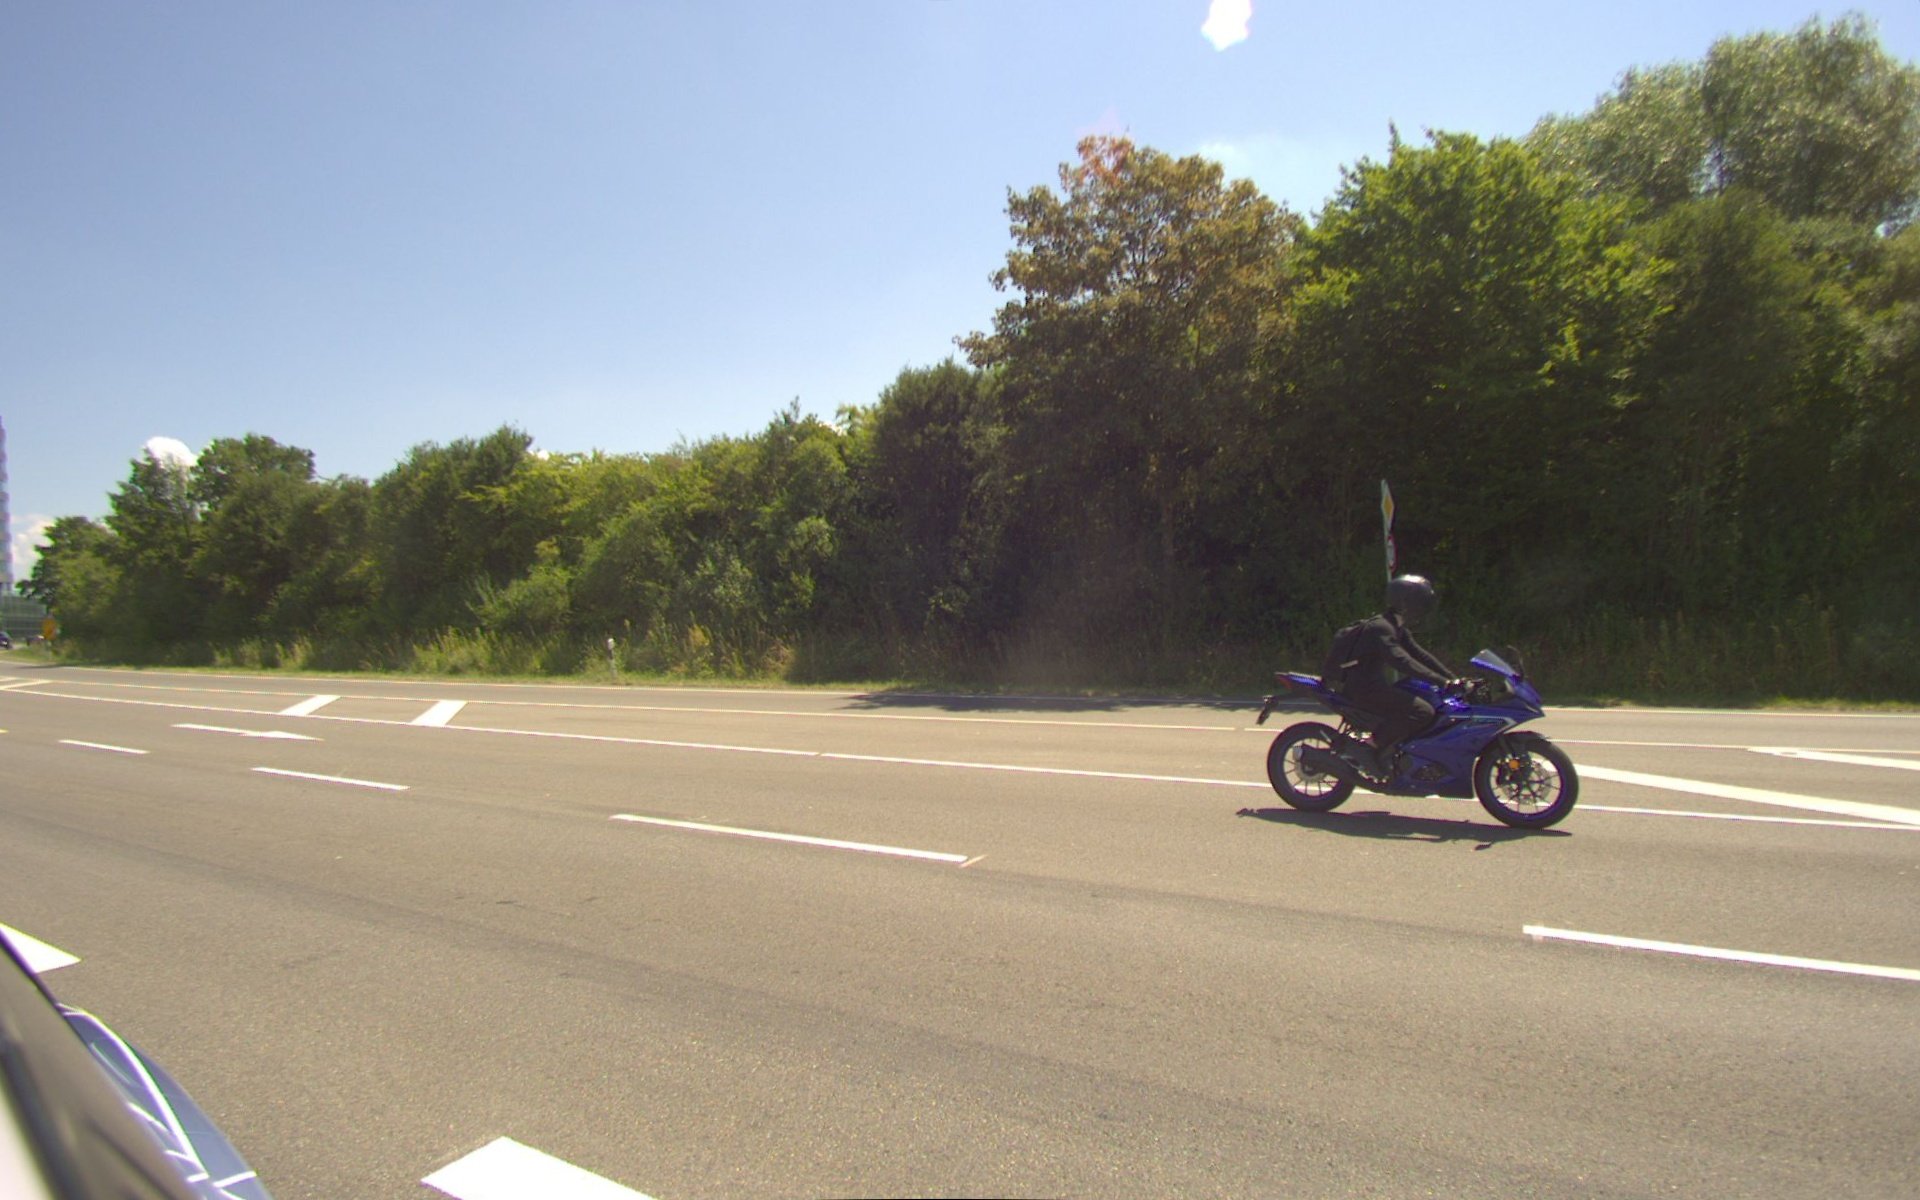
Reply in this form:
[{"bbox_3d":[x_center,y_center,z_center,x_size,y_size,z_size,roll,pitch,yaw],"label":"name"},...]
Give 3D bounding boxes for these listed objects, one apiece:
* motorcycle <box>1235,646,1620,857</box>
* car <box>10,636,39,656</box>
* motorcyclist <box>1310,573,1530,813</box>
[{"bbox_3d":[3.039,0.907,6.695,2.165,1.150,0.853,-2,-1,36],"label":"motorcycle"},{"bbox_3d":[-106.917,5.227,115.631,3.998,2.029,1.973,-1,0,41],"label":"car"},{"bbox_3d":[3.044,0.555,6.694,1.173,1.423,0.865,-1,0,35],"label":"motorcyclist"}]
